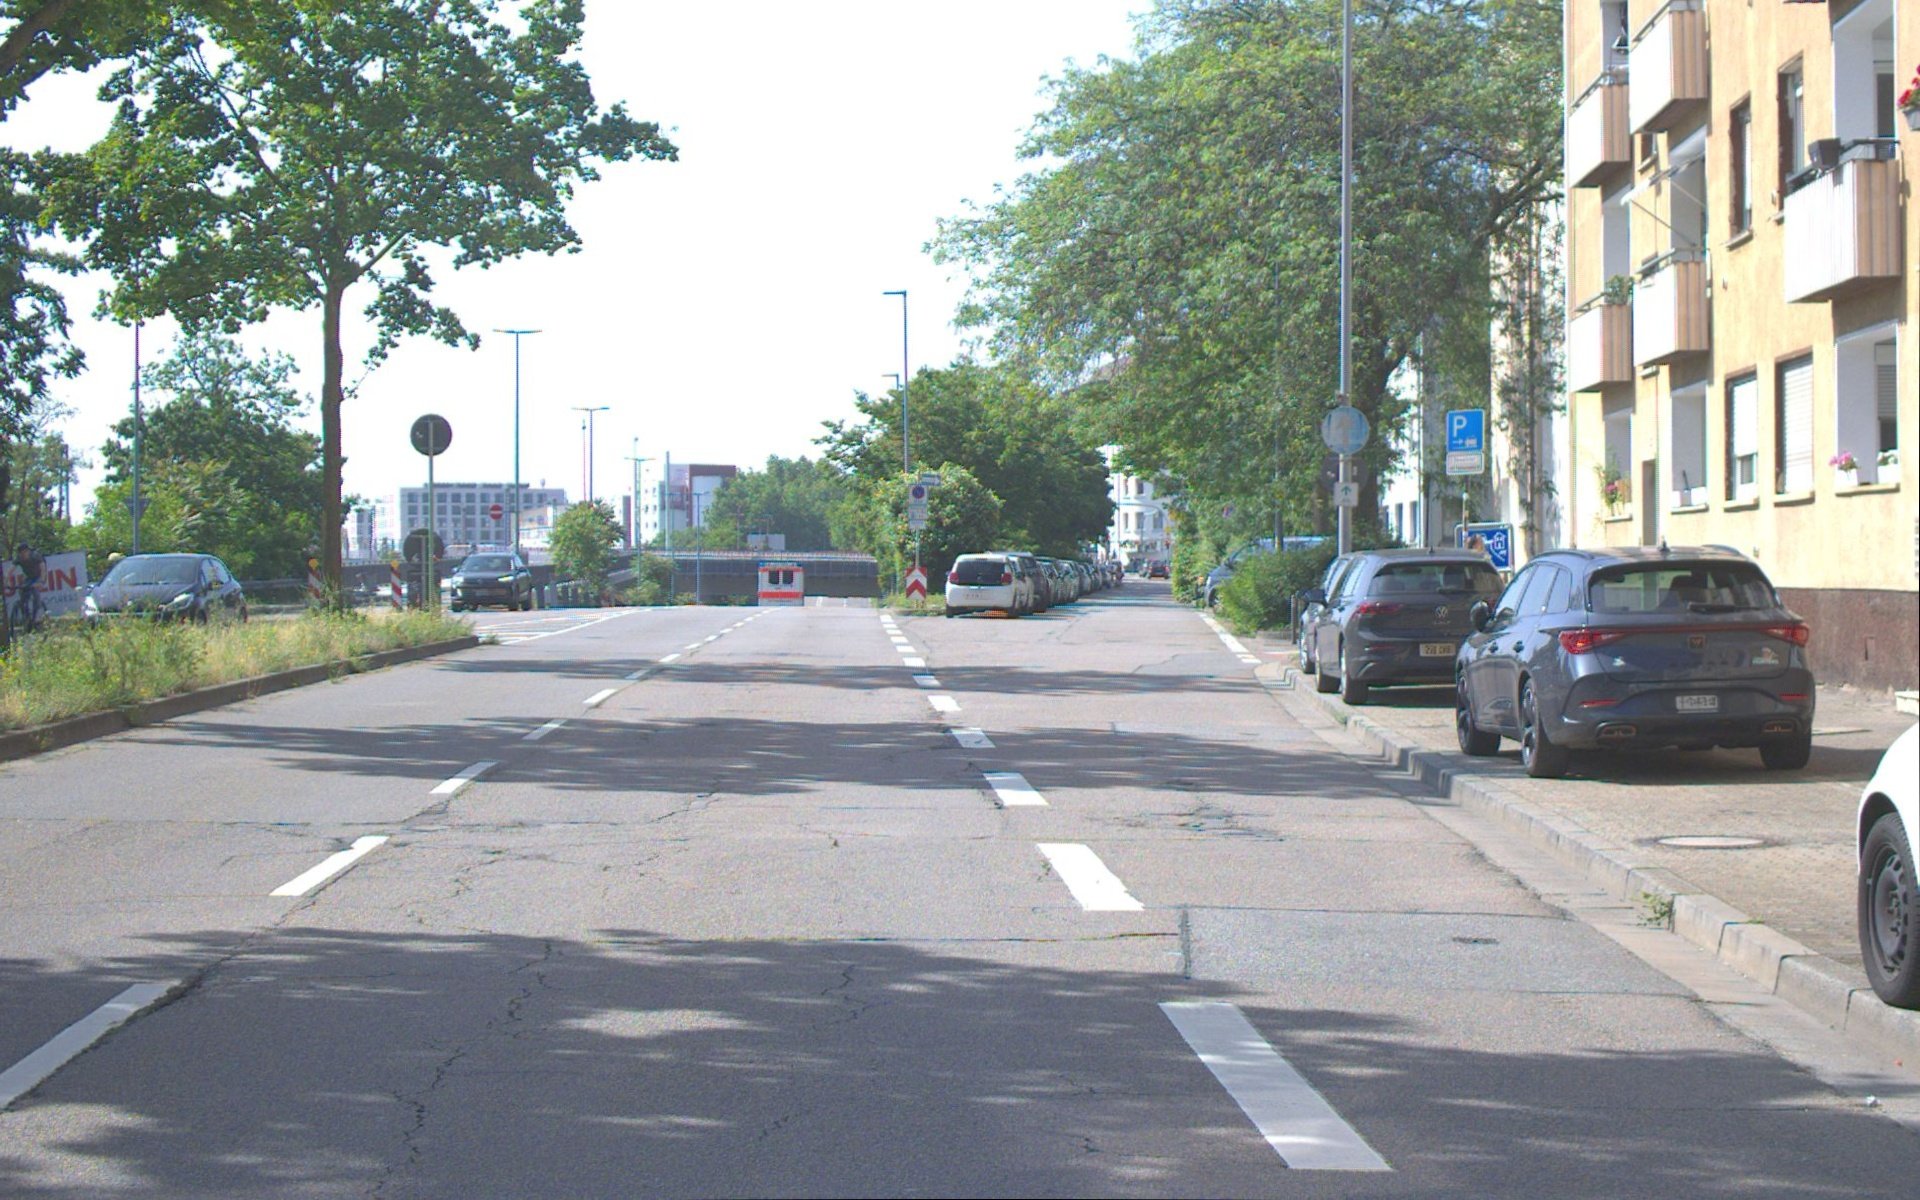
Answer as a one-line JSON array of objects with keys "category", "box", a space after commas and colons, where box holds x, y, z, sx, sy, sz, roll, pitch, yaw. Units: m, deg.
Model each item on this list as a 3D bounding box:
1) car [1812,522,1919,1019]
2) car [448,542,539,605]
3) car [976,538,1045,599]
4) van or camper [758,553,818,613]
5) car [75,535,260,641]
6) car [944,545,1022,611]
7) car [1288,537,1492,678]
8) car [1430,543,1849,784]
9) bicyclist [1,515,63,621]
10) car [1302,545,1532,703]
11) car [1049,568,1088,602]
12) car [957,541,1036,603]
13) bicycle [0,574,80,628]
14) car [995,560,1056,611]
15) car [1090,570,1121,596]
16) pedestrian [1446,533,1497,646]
[{"category": "car", "box": [3.781, 0.524, 9.568, 1.756, 1.500, 4.128, 0, 1, -1]}, {"category": "car", "box": [-13.235, -0.762, 97.695, 1.993, 1.728, 4.730, 1, 1, -1]}, {"category": "car", "box": [1.333, -0.851, 90.693, 1.771, 1.574, 4.186, 0, 1, 1]}, {"category": "van or camper", "box": [-8.192, -0.819, 164.204, 2.296, 2.780, 5.570, 1, 0, 2]}, {"category": "car", "box": [-11.490, -0.201, 50.081, 1.763, 1.469, 4.085, 0, 1, 0]}, {"category": "car", "box": [0.550, -0.531, 80.457, 1.620, 1.500, 3.461, 0, 1, 4]}, {"category": "car", "box": [4.812, 0.047, 38.954, 1.703, 1.509, 4.092, 0, 1, -1]}, {"category": "car", "box": [4.371, 0.346, 22.815, 1.800, 1.433, 4.590, 0, 1, -1]}, {"category": "bicyclist", "box": [-16.075, -0.559, 59.568, 0.696, 1.825, 1.017, 0, 1, 6]}, {"category": "car", "box": [4.436, 0.191, 33.892, 1.710, 1.457, 4.256, 0, 1, 0]}, {"category": "car", "box": [5.233, -0.723, 165.410, 1.664, 1.504, 4.008, 3, 1, 4]}, {"category": "car", "box": [0.921, -0.710, 85.205, 1.721, 1.500, 4.132, 0, 1, 4]}, {"category": "bicycle", "box": [-16.051, 0.011, 59.682, 0.693, 0.902, 2.341, 0, 1, 7]}, {"category": "car", "box": [2.044, -0.453, 106.359, 1.664, 1.468, 3.789, 3, 1, 4]}, {"category": "car", "box": [9.674, -1.118, 228.113, 1.994, 1.651, 4.000, 1, 0, 3]}, {"category": "pedestrian", "box": [7.320, -0.161, 49.198, 0.655, 1.603, 0.824, 0, 1, 4]}]
